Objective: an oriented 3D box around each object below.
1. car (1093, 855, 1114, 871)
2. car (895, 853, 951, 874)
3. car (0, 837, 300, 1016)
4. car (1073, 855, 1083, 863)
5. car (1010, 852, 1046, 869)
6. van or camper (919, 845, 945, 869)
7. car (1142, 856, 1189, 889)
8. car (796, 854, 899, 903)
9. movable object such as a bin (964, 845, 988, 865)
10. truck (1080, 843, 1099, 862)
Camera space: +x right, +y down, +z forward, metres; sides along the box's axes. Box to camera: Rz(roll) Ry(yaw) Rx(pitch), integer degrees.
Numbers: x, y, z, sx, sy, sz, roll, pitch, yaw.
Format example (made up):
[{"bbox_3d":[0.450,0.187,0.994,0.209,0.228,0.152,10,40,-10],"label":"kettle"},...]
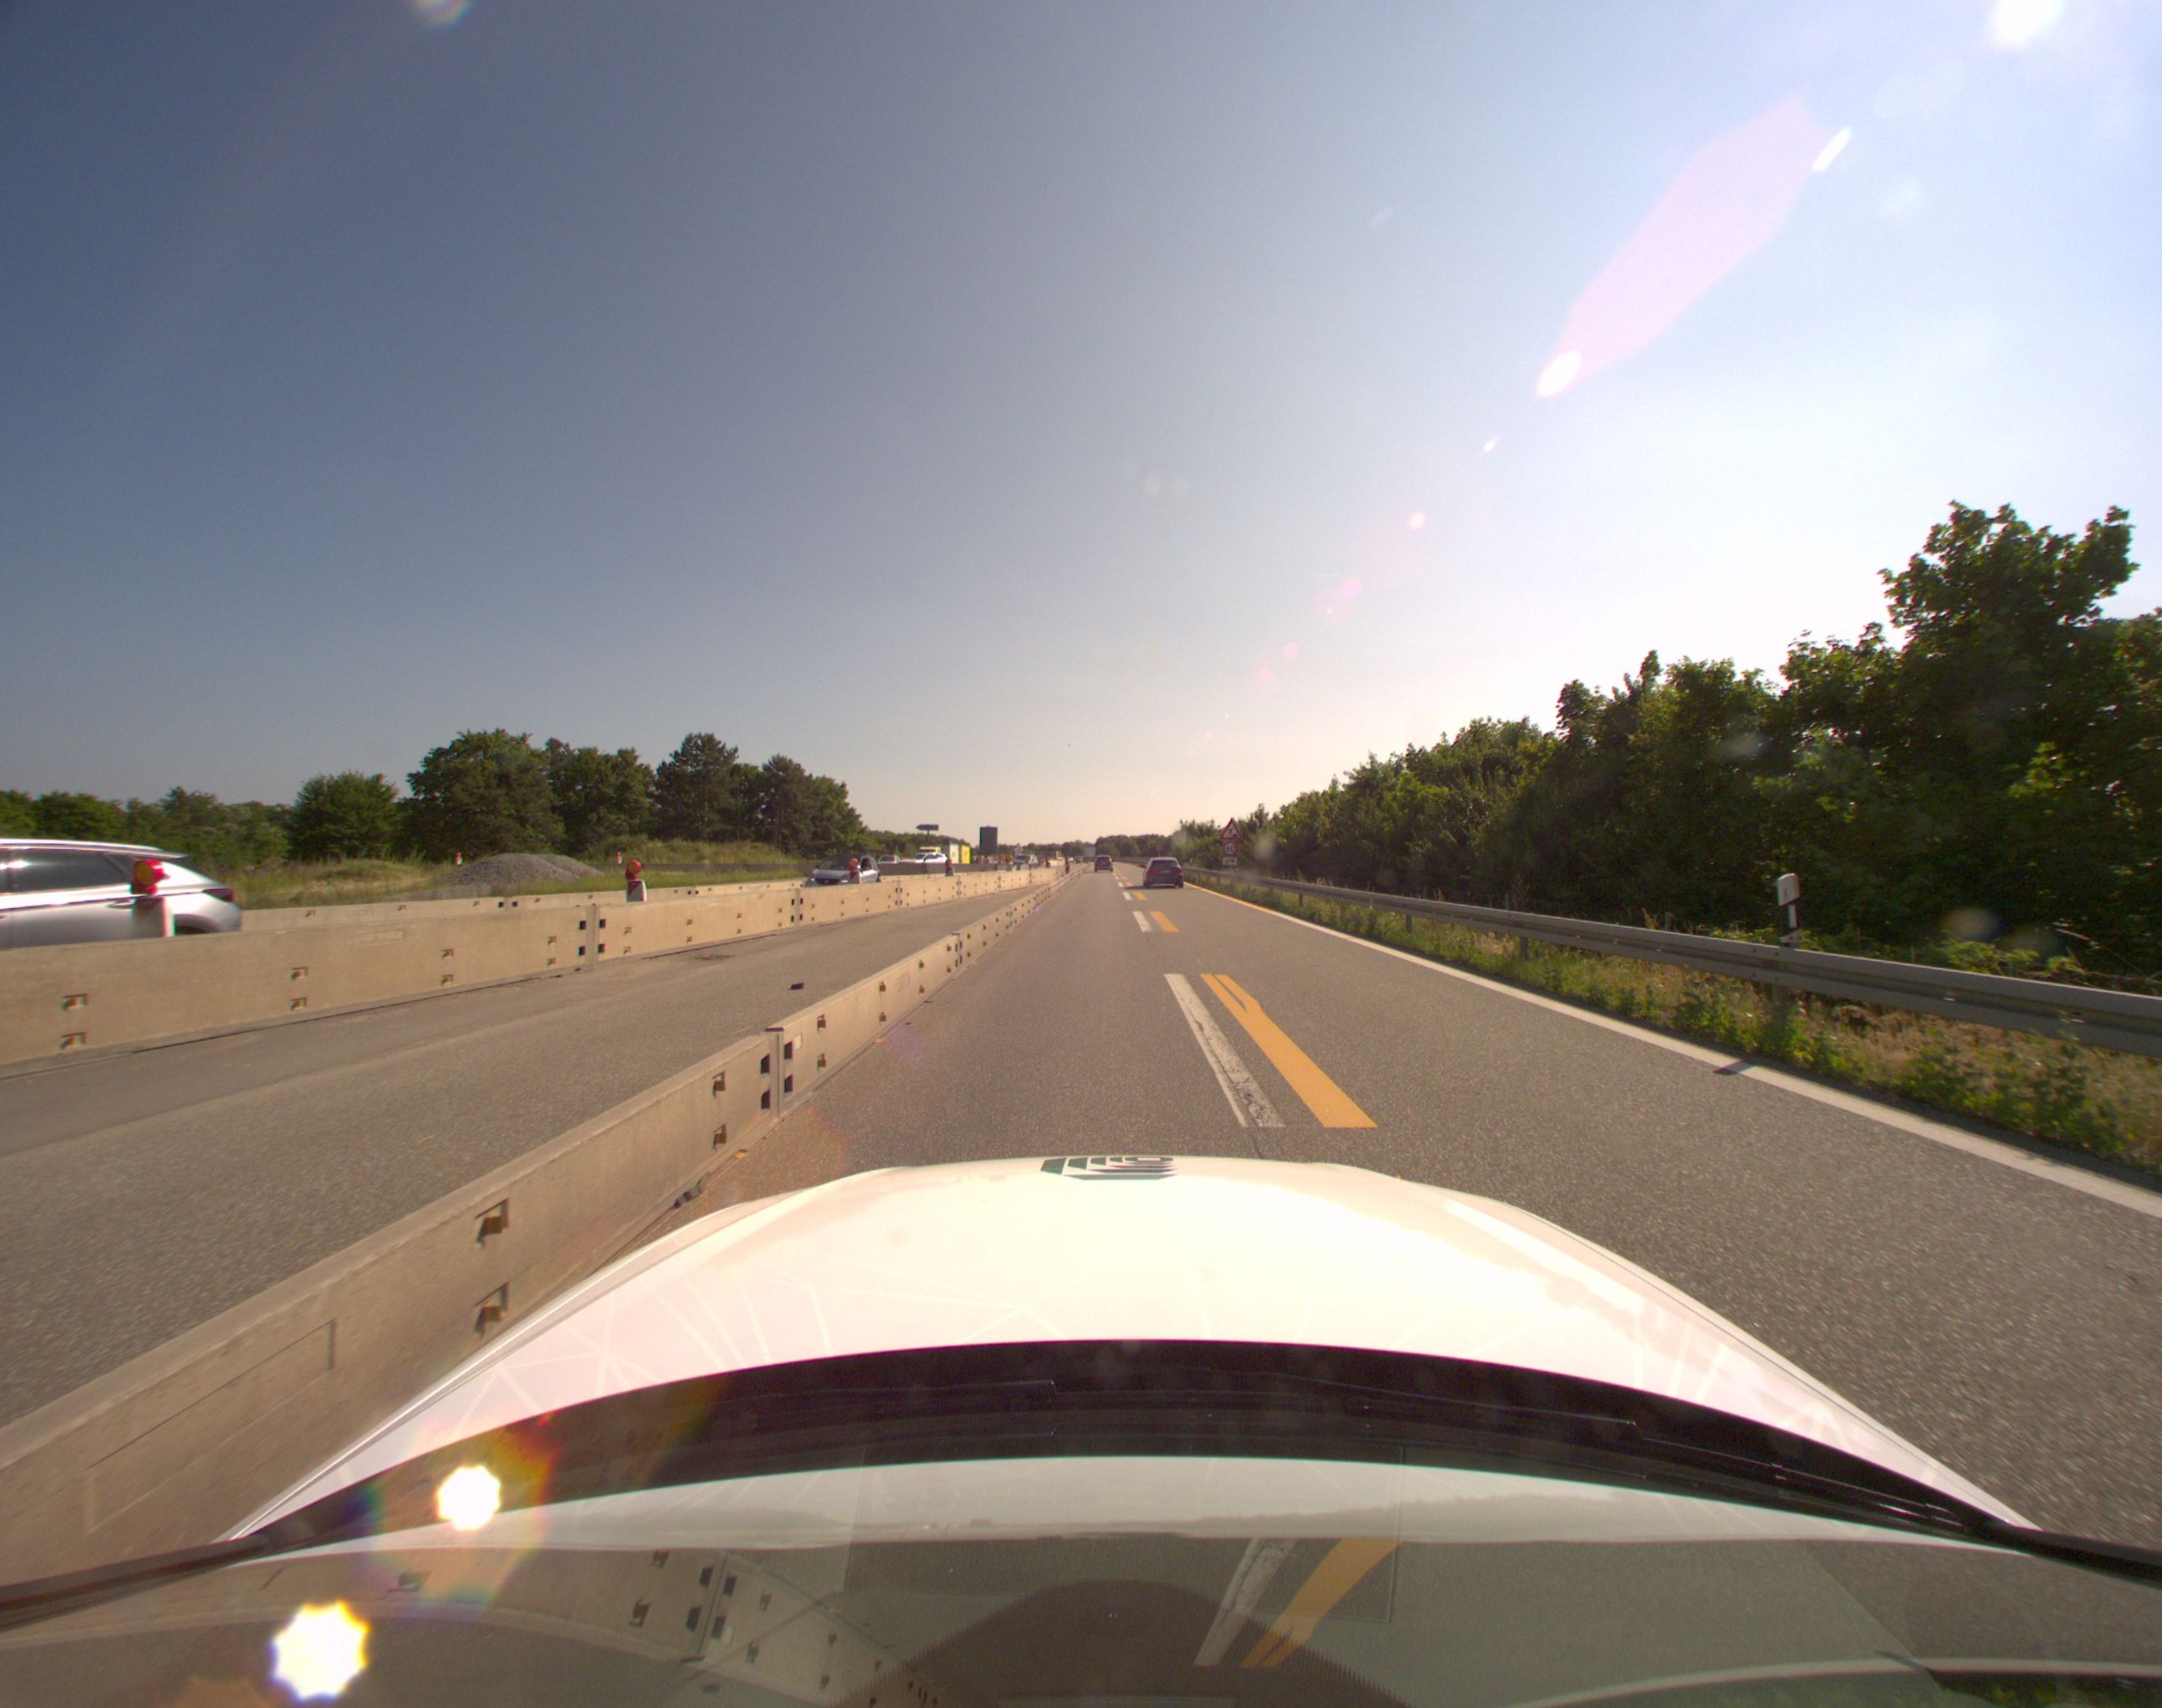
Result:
[{"bbox_3d":[2.194,0.854,78.625,1.986,1.567,4.002,-1,0,2],"label":"car"},{"bbox_3d":[-12.233,0.715,63.264,1.935,1.554,4.025,0,0,35],"label":"car"},{"bbox_3d":[-10.145,0.610,7.080,1.983,1.515,4.589,0,0,7],"label":"car"},{"bbox_3d":[-0.543,0.941,160.904,1.852,1.473,4.686,1,0,2],"label":"car"},{"bbox_3d":[-5.107,0.628,79.535,1.978,1.622,4.869,1,0,16],"label":"car"},{"bbox_3d":[-15.607,0.281,85.389,1.990,2.378,6.192,1,0,-4],"label":"van or camper"},{"bbox_3d":[4.050,0.872,39.526,1.914,1.494,4.000,1,0,0],"label":"car"},{"bbox_3d":[-7.673,0.763,27.208,1.701,1.515,4.188,0,0,9],"label":"car"},{"bbox_3d":[-14.671,0.187,114.074,2.021,2.715,5.117,0,0,6],"label":"movable object such as a bin"},{"bbox_3d":[2.130,-0.470,218.378,3.755,4.911,14.111,1,0,-5],"label":"truck"}]
